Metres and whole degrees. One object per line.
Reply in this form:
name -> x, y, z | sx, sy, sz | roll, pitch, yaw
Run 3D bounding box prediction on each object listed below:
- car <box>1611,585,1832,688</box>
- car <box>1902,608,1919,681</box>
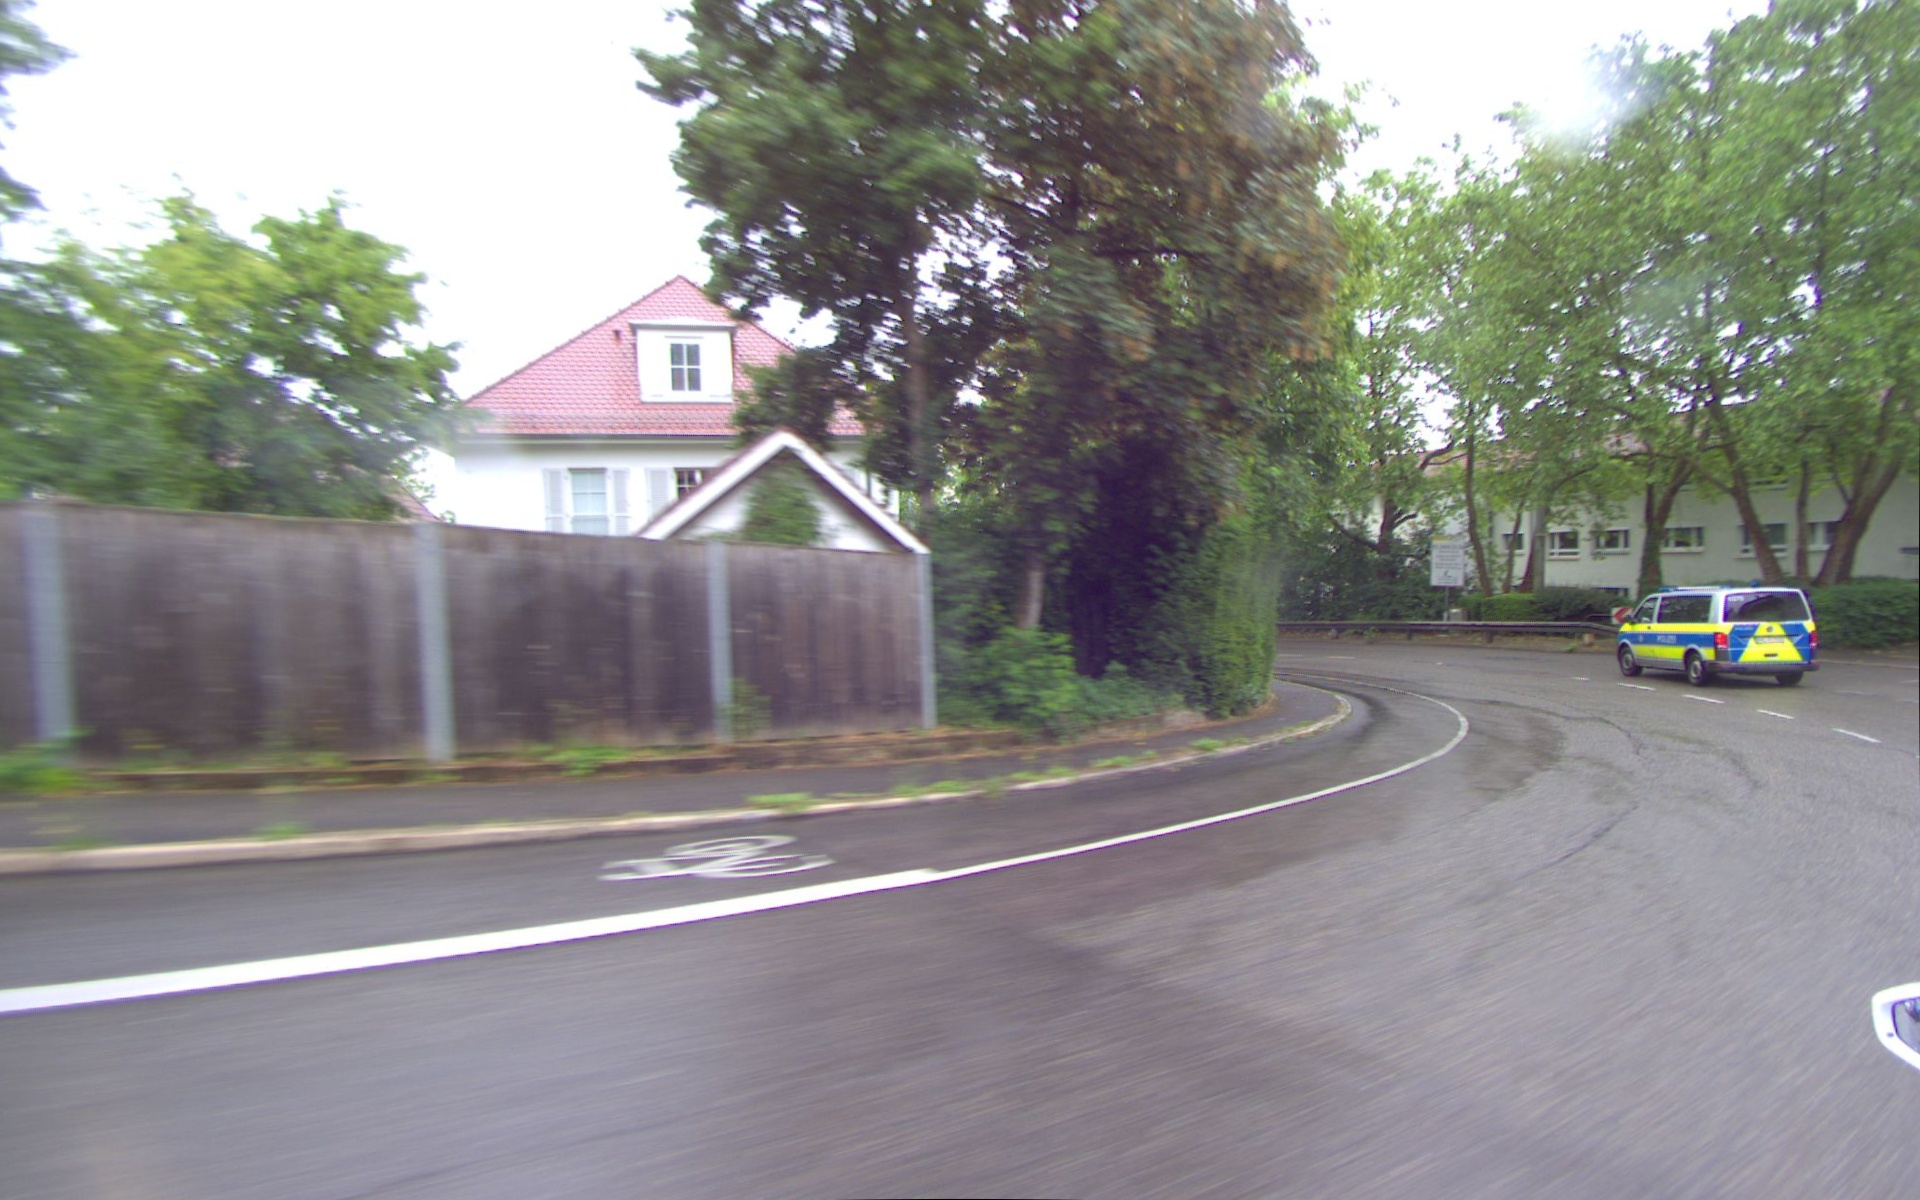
car -> 16.149, 0.722, 21.661 | 1.960, 1.918, 4.572 | -3, -1, 12
car -> 18.612, 0.762, 17.162 | 1.750, 1.385, 4.199 | -2, -2, 13
